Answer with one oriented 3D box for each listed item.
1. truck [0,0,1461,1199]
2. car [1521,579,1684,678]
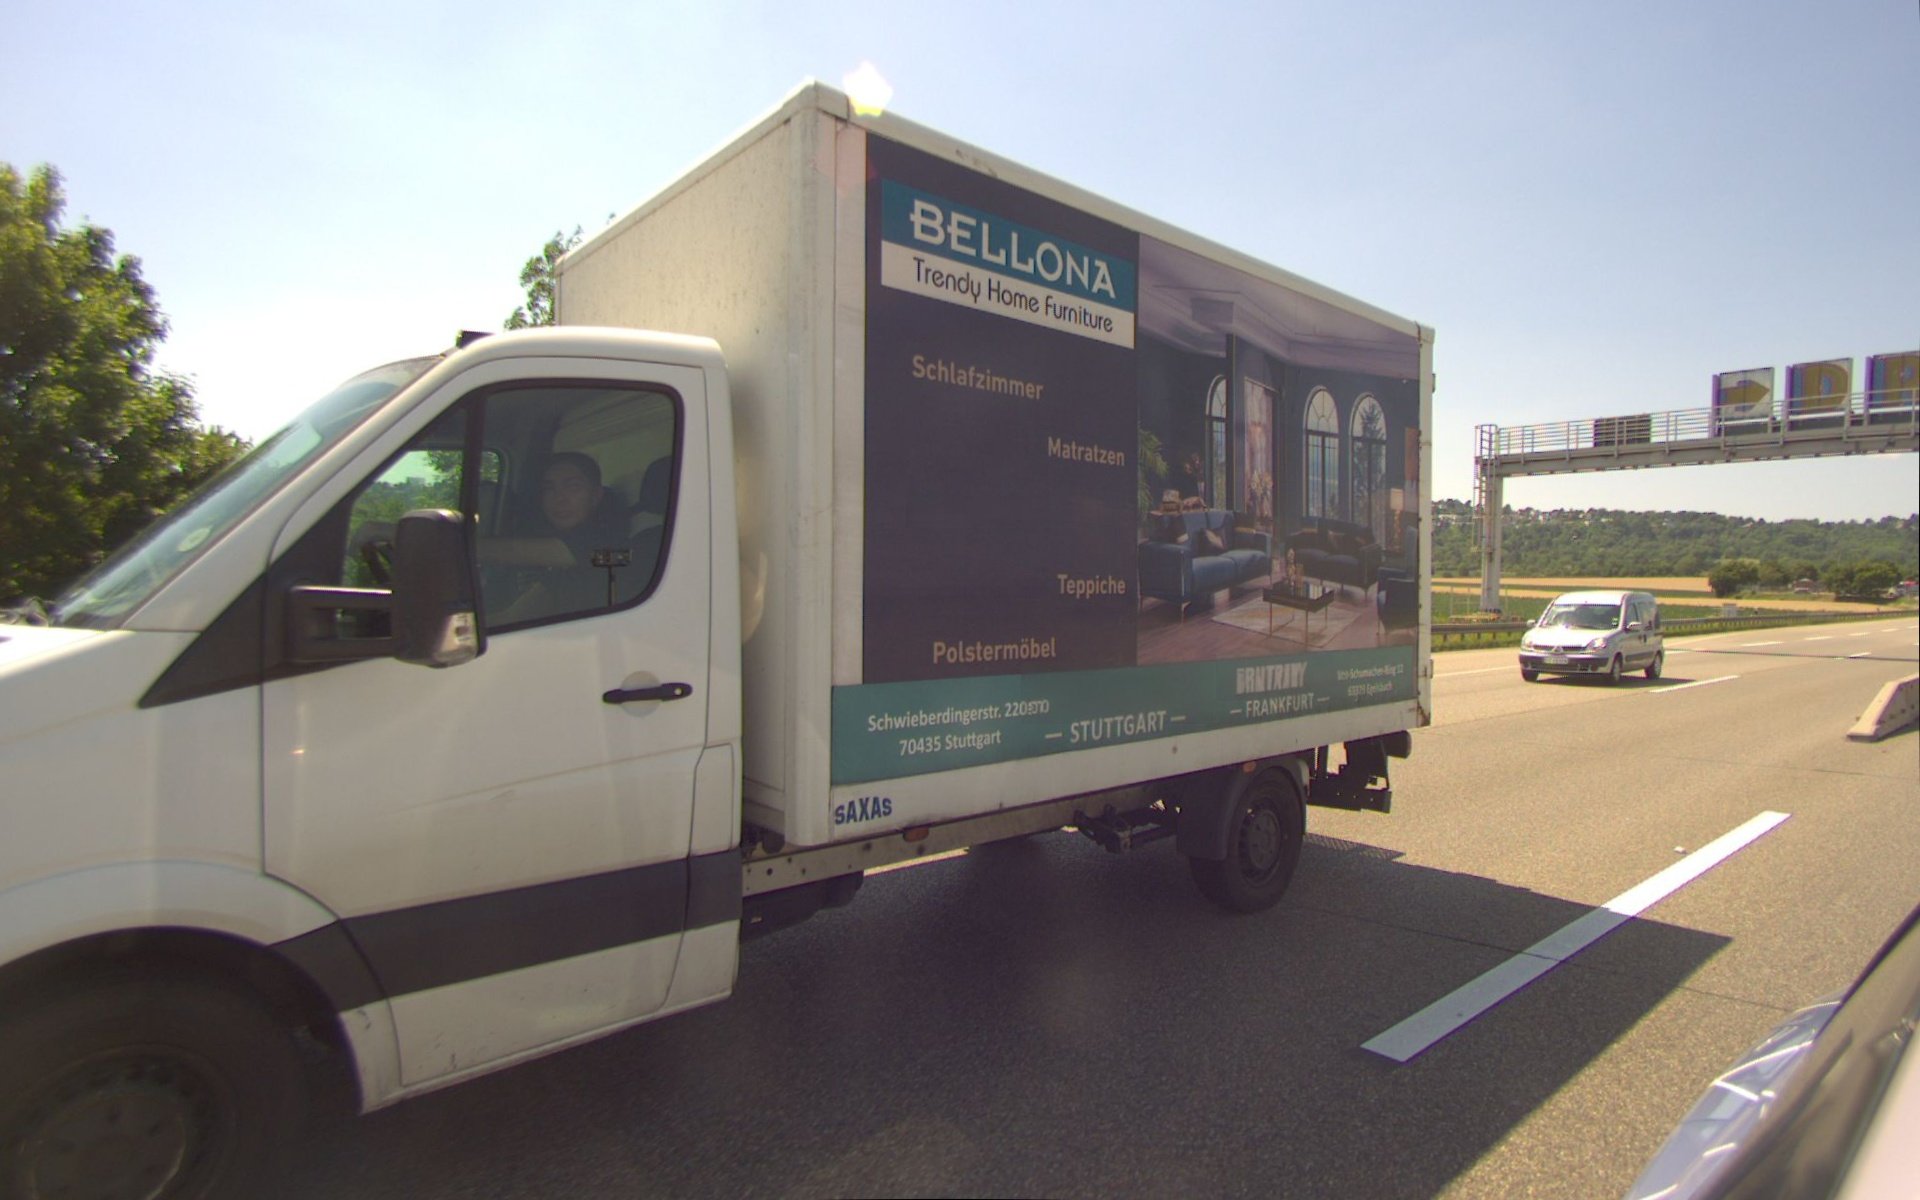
[{"bbox_3d":[-0.384,-0.162,4.495,6.633,3.106,2.325,1,0,-41],"label":"truck"},{"bbox_3d":[12.679,0.522,19.898,3.902,1.759,1.630,1,0,-40],"label":"car"}]
